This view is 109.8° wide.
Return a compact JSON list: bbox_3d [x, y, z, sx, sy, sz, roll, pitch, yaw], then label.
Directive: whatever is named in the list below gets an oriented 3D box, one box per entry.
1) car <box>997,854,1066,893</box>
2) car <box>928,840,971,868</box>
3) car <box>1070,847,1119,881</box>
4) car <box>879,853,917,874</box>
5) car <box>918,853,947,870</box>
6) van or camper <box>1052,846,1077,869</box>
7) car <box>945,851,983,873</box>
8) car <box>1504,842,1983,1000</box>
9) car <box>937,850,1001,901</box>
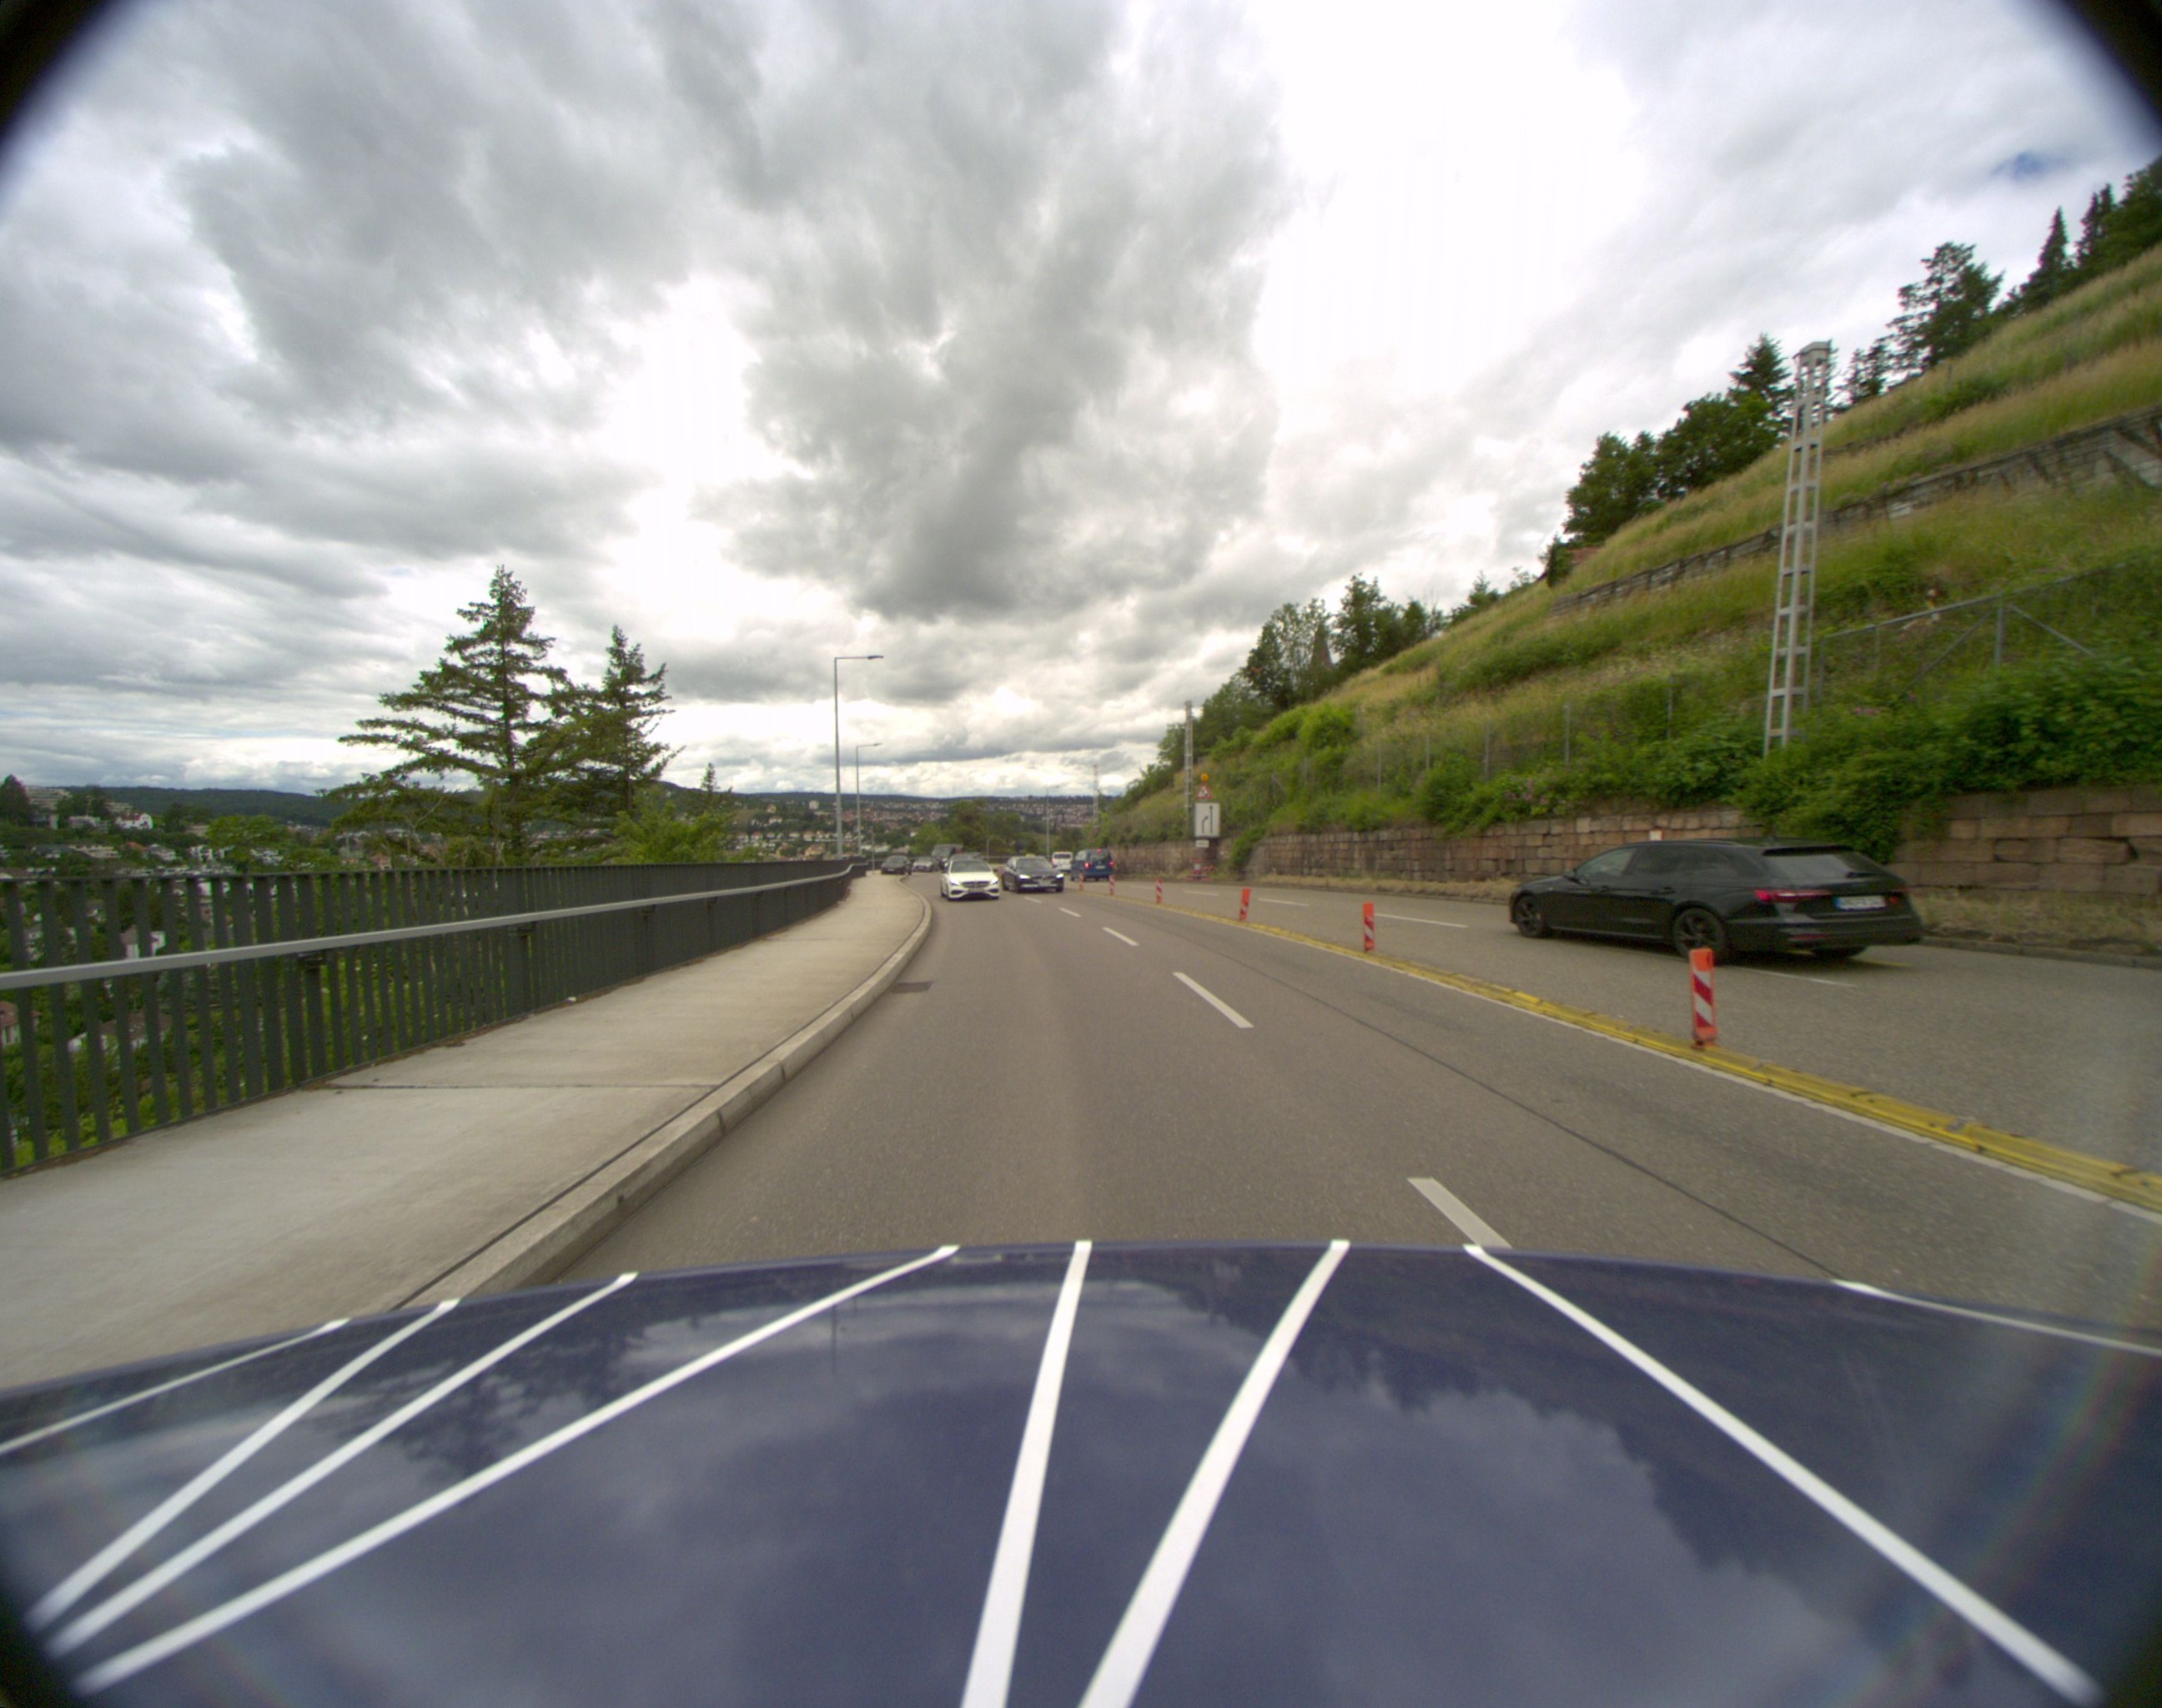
[{"bbox_3d":[-2.124,0.744,31.318,1.903,1.485,4.135,0,0,-18],"label":"car"},{"bbox_3d":[-12.716,-0.054,73.873,2.170,2.507,5.775,4,1,9],"label":"car"},{"bbox_3d":[0.726,0.555,44.666,1.857,1.772,4.729,-3,0,-11],"label":"car"},{"bbox_3d":[-13.955,0.682,58.084,1.879,1.534,4.089,0,1,0],"label":"car"},{"bbox_3d":[-13.221,0.613,67.831,1.718,1.423,3.850,1,1,2],"label":"car"},{"bbox_3d":[-1.485,0.259,68.349,2.153,2.005,4.962,0,1,0],"label":"van or camper"},{"bbox_3d":[-9.737,0.639,63.698,1.997,1.661,4.539,-1,0,7],"label":"car"},{"bbox_3d":[7.596,0.606,9.468,1.856,1.405,4.412,-3,1,-5],"label":"car"},{"bbox_3d":[-4.156,0.826,27.758,2.001,1.707,3.997,0,-3,-13],"label":"car"}]
